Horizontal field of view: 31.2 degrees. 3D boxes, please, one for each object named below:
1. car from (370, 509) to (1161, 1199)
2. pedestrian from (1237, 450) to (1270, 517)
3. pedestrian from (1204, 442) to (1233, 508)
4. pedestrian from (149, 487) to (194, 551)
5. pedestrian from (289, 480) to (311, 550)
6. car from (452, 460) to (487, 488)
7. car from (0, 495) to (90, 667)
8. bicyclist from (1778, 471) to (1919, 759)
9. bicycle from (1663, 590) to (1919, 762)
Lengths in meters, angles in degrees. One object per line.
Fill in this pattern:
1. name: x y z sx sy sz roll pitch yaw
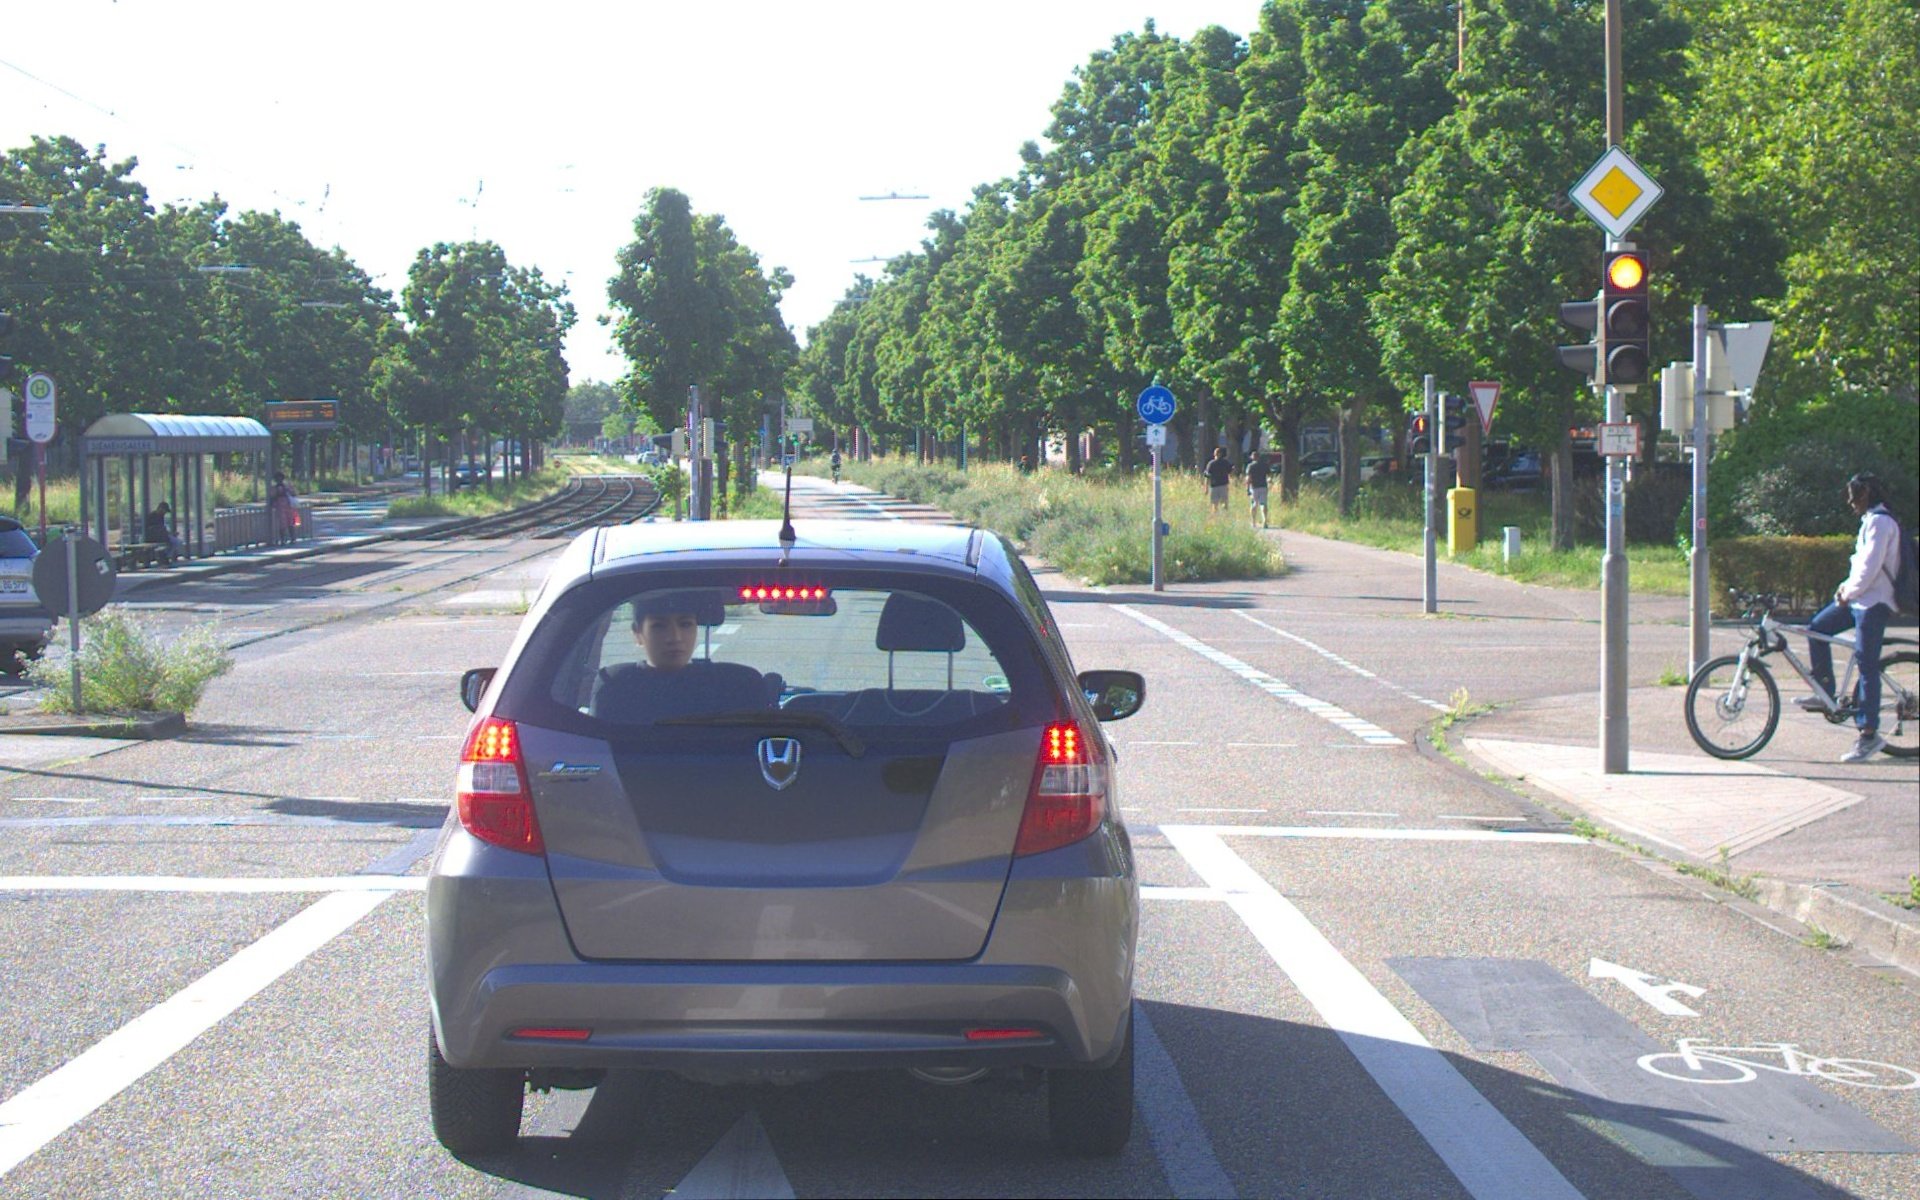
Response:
1. car: -0.422 0.516 9.485 1.707 1.503 4.000 1 1 0
2. pedestrian: 7.165 -2.843 83.947 0.678 1.604 0.721 1 1 -3
3. pedestrian: 6.318 -3.054 83.978 0.567 1.591 0.666 1 1 -4
4. pedestrian: -15.499 -1.587 67.548 0.721 1.241 0.711 -1 2 -2
5. pedestrian: -15.785 -2.032 82.182 0.502 1.670 0.388 0 2 -12
6. car: -30.324 -7.784 212.594 1.766 1.732 4.001 0 1 -3
7. car: -10.650 -0.216 33.228 4.248 1.601 1.854 1 2 30
8. bicyclist: 5.569 0.089 21.285 0.910 1.739 0.764 -1 1 10
9. bicycle: 5.369 0.461 21.332 1.921 0.994 0.764 -2 1 10
